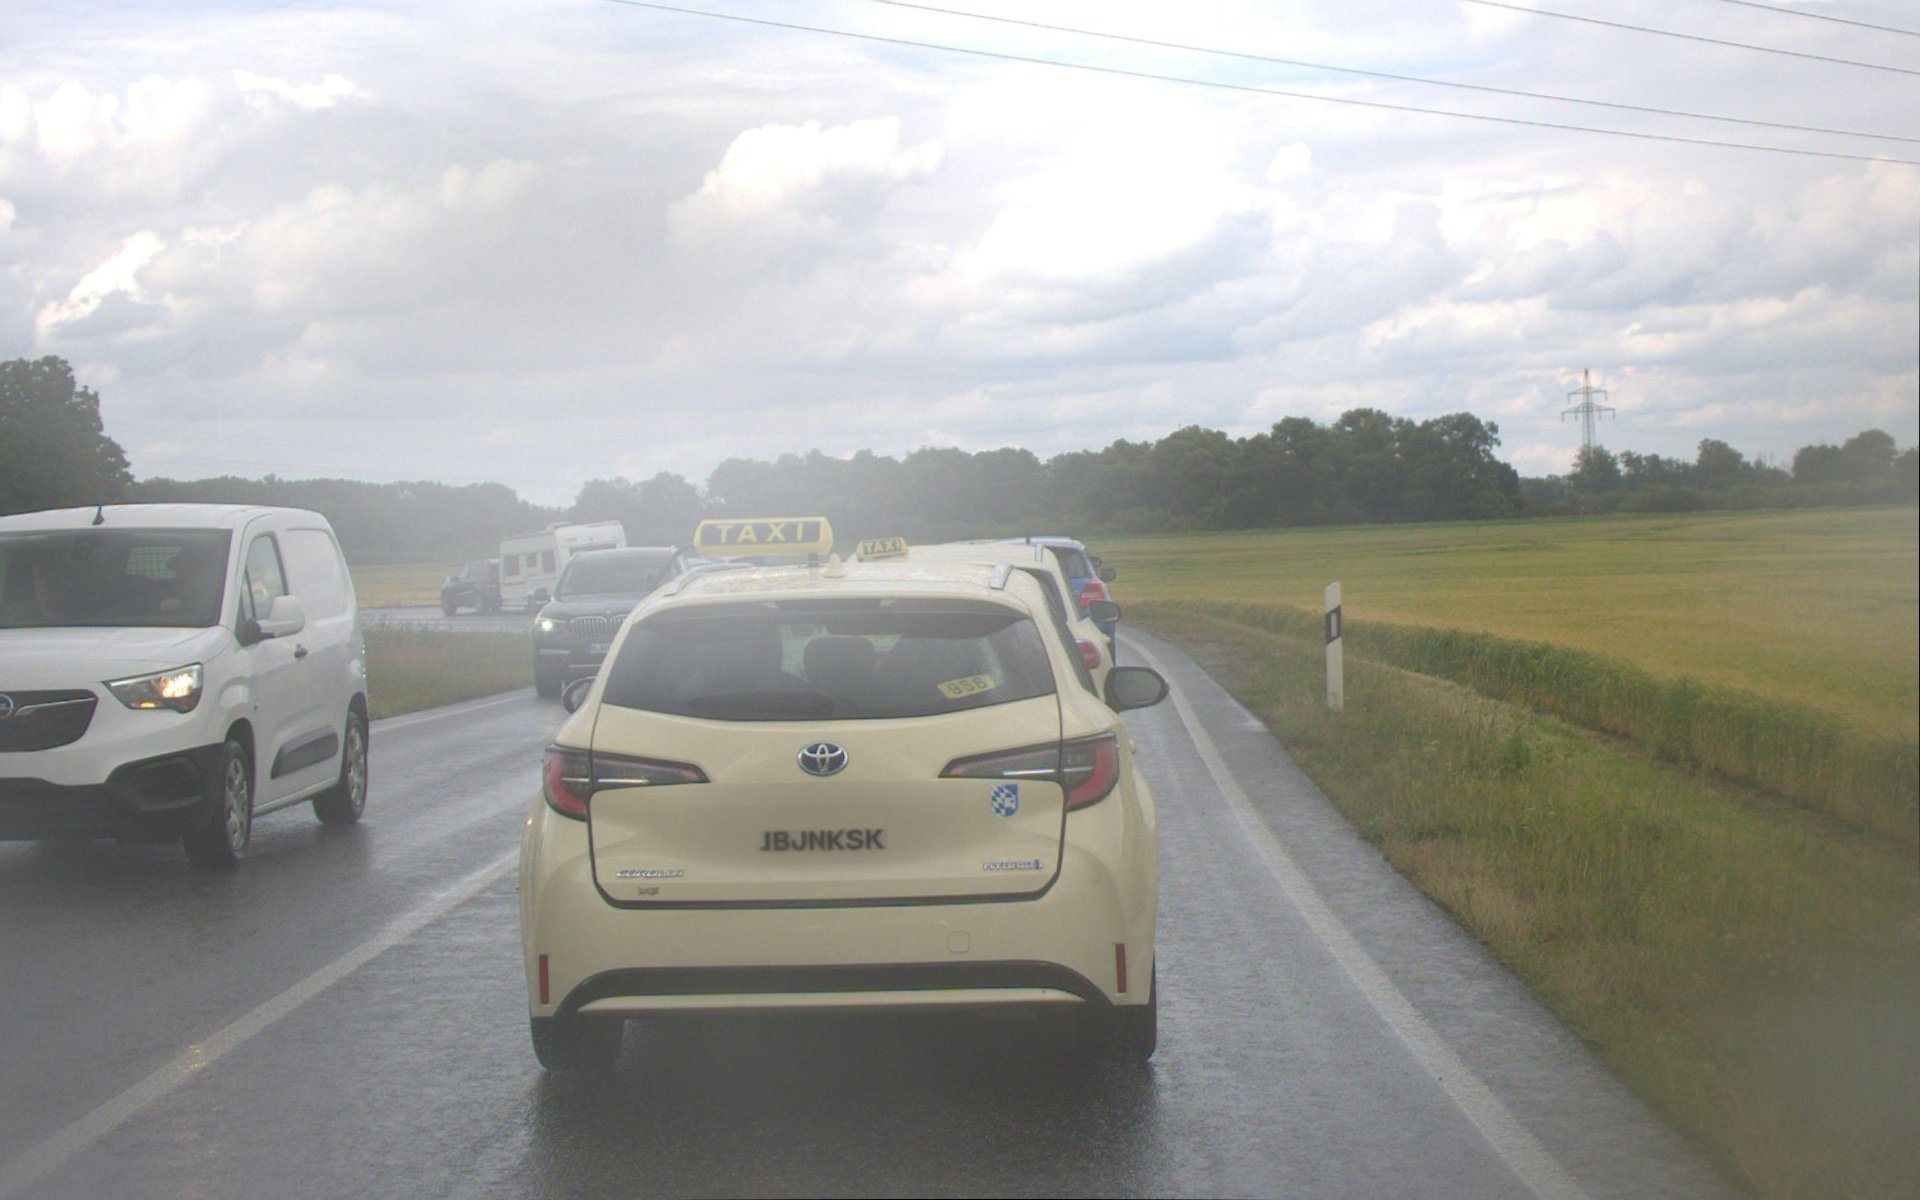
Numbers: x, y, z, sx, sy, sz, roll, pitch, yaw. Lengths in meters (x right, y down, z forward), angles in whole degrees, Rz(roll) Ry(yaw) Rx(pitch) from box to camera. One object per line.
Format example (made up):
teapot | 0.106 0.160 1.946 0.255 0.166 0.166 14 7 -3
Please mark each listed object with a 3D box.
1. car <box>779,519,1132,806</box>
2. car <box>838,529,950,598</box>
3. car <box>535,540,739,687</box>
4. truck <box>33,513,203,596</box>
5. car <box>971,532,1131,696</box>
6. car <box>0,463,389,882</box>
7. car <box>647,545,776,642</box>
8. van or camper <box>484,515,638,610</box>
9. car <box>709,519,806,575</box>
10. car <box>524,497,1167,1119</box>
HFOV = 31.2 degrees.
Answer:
car | -0.031 0.302 20.388 1.841 1.487 4.608 1 1 0
car | -1.488 -0.772 75.644 1.959 1.408 4.393 1 -1 -8
car | -3.763 0.123 40.724 1.849 1.626 4.534 -1 1 2
truck | -33.906 -1.782 138.186 3.015 3.198 8.228 1 -1 -43
car | 0.955 0.160 36.928 1.613 1.653 3.738 1 -1 1
car | -4.258 0.325 17.586 1.844 1.849 4.447 -1 0 1
car | -4.025 -0.124 55.097 1.848 1.443 4.091 -2 1 -7
van or camper | -12.633 -1.196 108.275 2.536 2.886 6.744 0 1 -28
car | -5.461 -1.399 92.317 1.783 1.408 3.739 1 -1 -16
car | -0.273 0.543 10.593 1.613 1.557 3.738 1 -1 1
